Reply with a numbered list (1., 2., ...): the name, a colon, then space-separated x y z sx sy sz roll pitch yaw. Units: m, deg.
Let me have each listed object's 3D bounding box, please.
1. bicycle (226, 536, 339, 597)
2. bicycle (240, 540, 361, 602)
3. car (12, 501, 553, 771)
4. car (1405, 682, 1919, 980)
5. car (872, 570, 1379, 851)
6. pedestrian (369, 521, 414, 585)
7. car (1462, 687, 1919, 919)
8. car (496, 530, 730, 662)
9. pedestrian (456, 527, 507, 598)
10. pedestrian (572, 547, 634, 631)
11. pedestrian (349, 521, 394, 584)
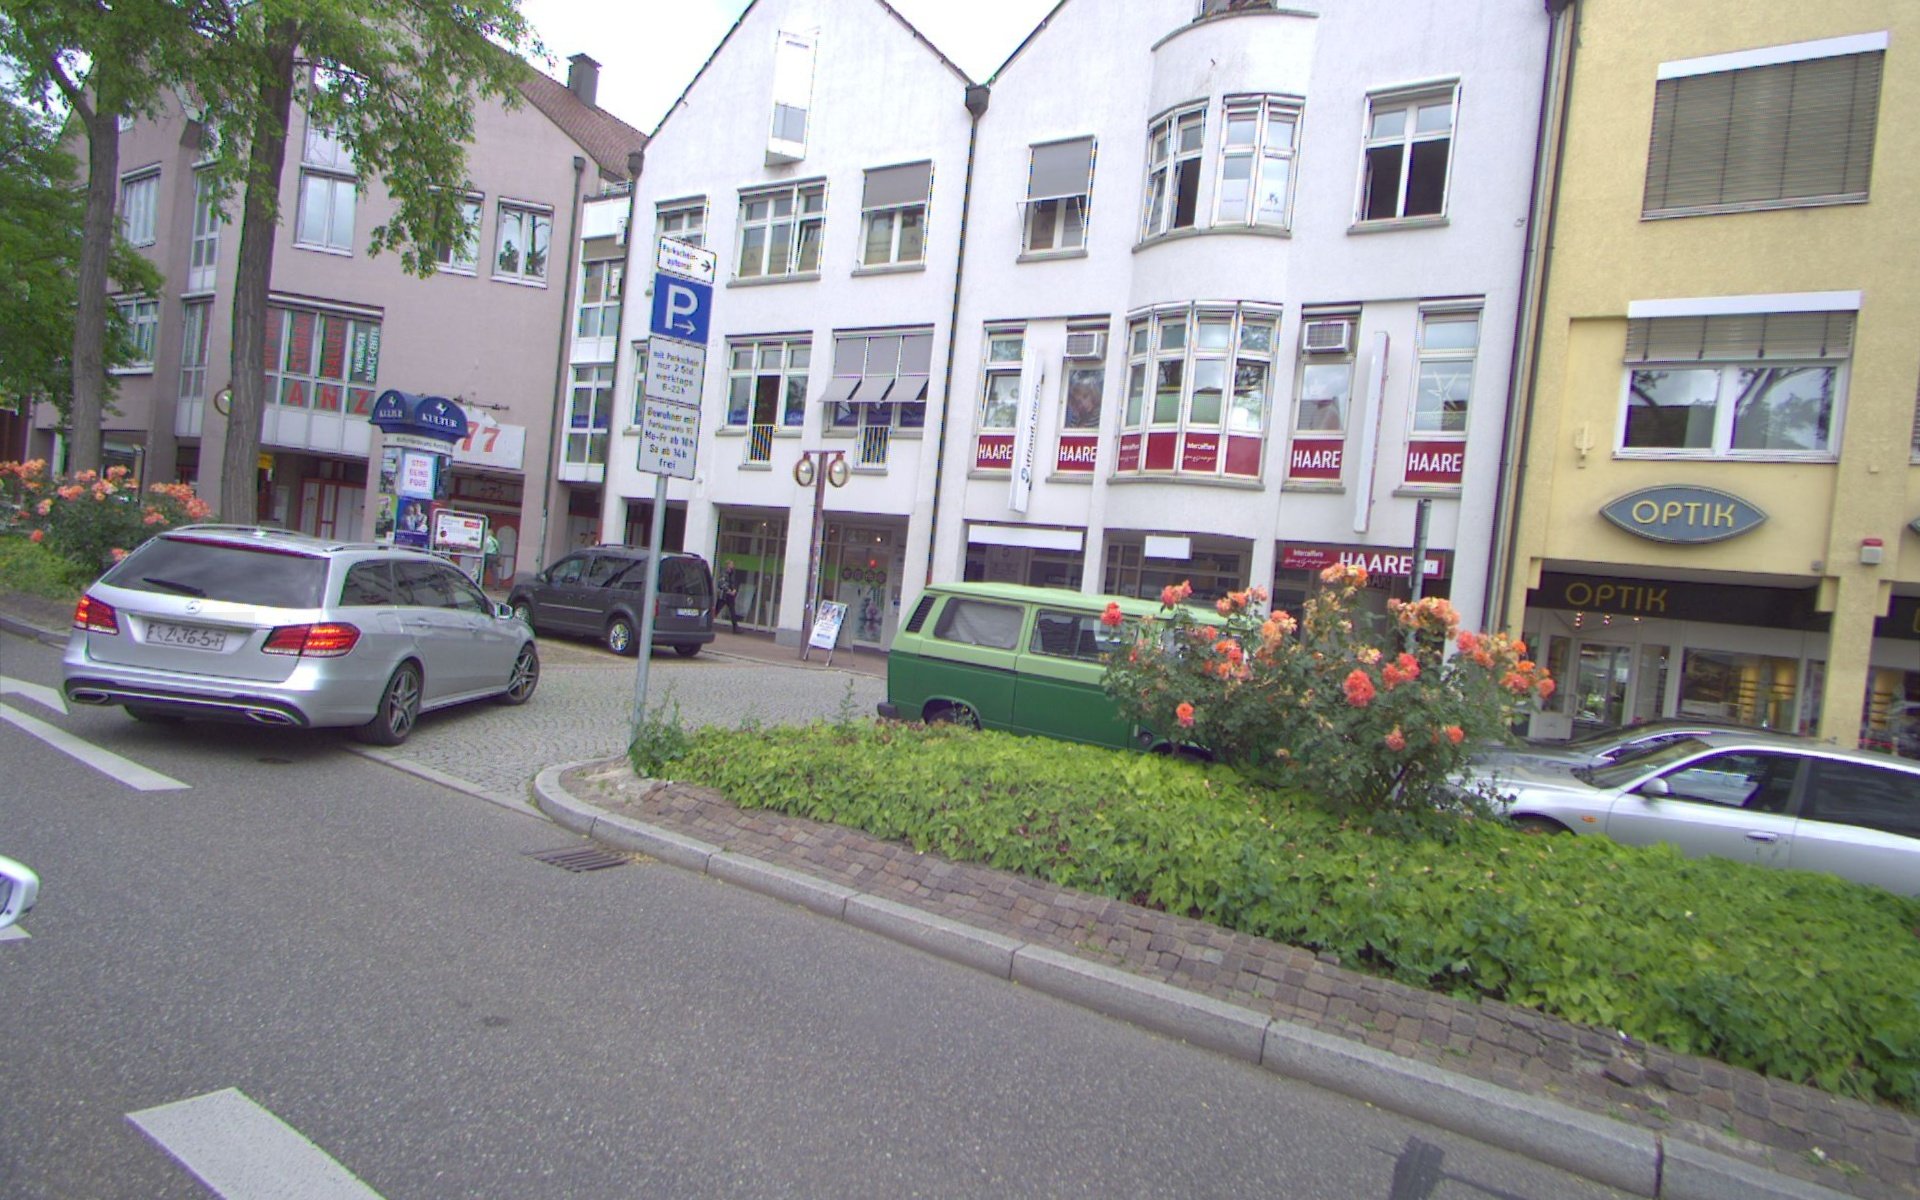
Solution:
1. bicycle: -13.622 -0.663 20.265 0.440 1.009 1.769 7 0 36
2. bicycle: -13.115 -0.564 20.062 0.460 1.009 1.901 7 0 36
3. car: -5.126 0.245 8.519 1.789 1.465 4.365 8 -1 -6
4. car: 5.936 1.683 7.703 4.344 1.468 1.765 7 0 30
5. car: 1.586 0.913 10.161 4.527 1.900 1.882 7 2 30
6. pedestrian: -15.125 -1.234 26.779 0.610 1.583 0.665 7 1 10
7. car: 7.548 1.912 10.027 4.344 1.394 1.999 7 1 30
8. car: -6.300 -0.087 18.192 3.898 1.855 1.640 7 1 27
9. pedestrian: -13.189 -1.040 27.752 0.805 1.815 0.790 7 1 31
10. pedestrian: -7.628 -0.232 21.512 0.805 1.682 0.789 7 3 31
11. pedestrian: -15.267 -1.231 26.116 0.610 1.534 0.612 7 1 10
